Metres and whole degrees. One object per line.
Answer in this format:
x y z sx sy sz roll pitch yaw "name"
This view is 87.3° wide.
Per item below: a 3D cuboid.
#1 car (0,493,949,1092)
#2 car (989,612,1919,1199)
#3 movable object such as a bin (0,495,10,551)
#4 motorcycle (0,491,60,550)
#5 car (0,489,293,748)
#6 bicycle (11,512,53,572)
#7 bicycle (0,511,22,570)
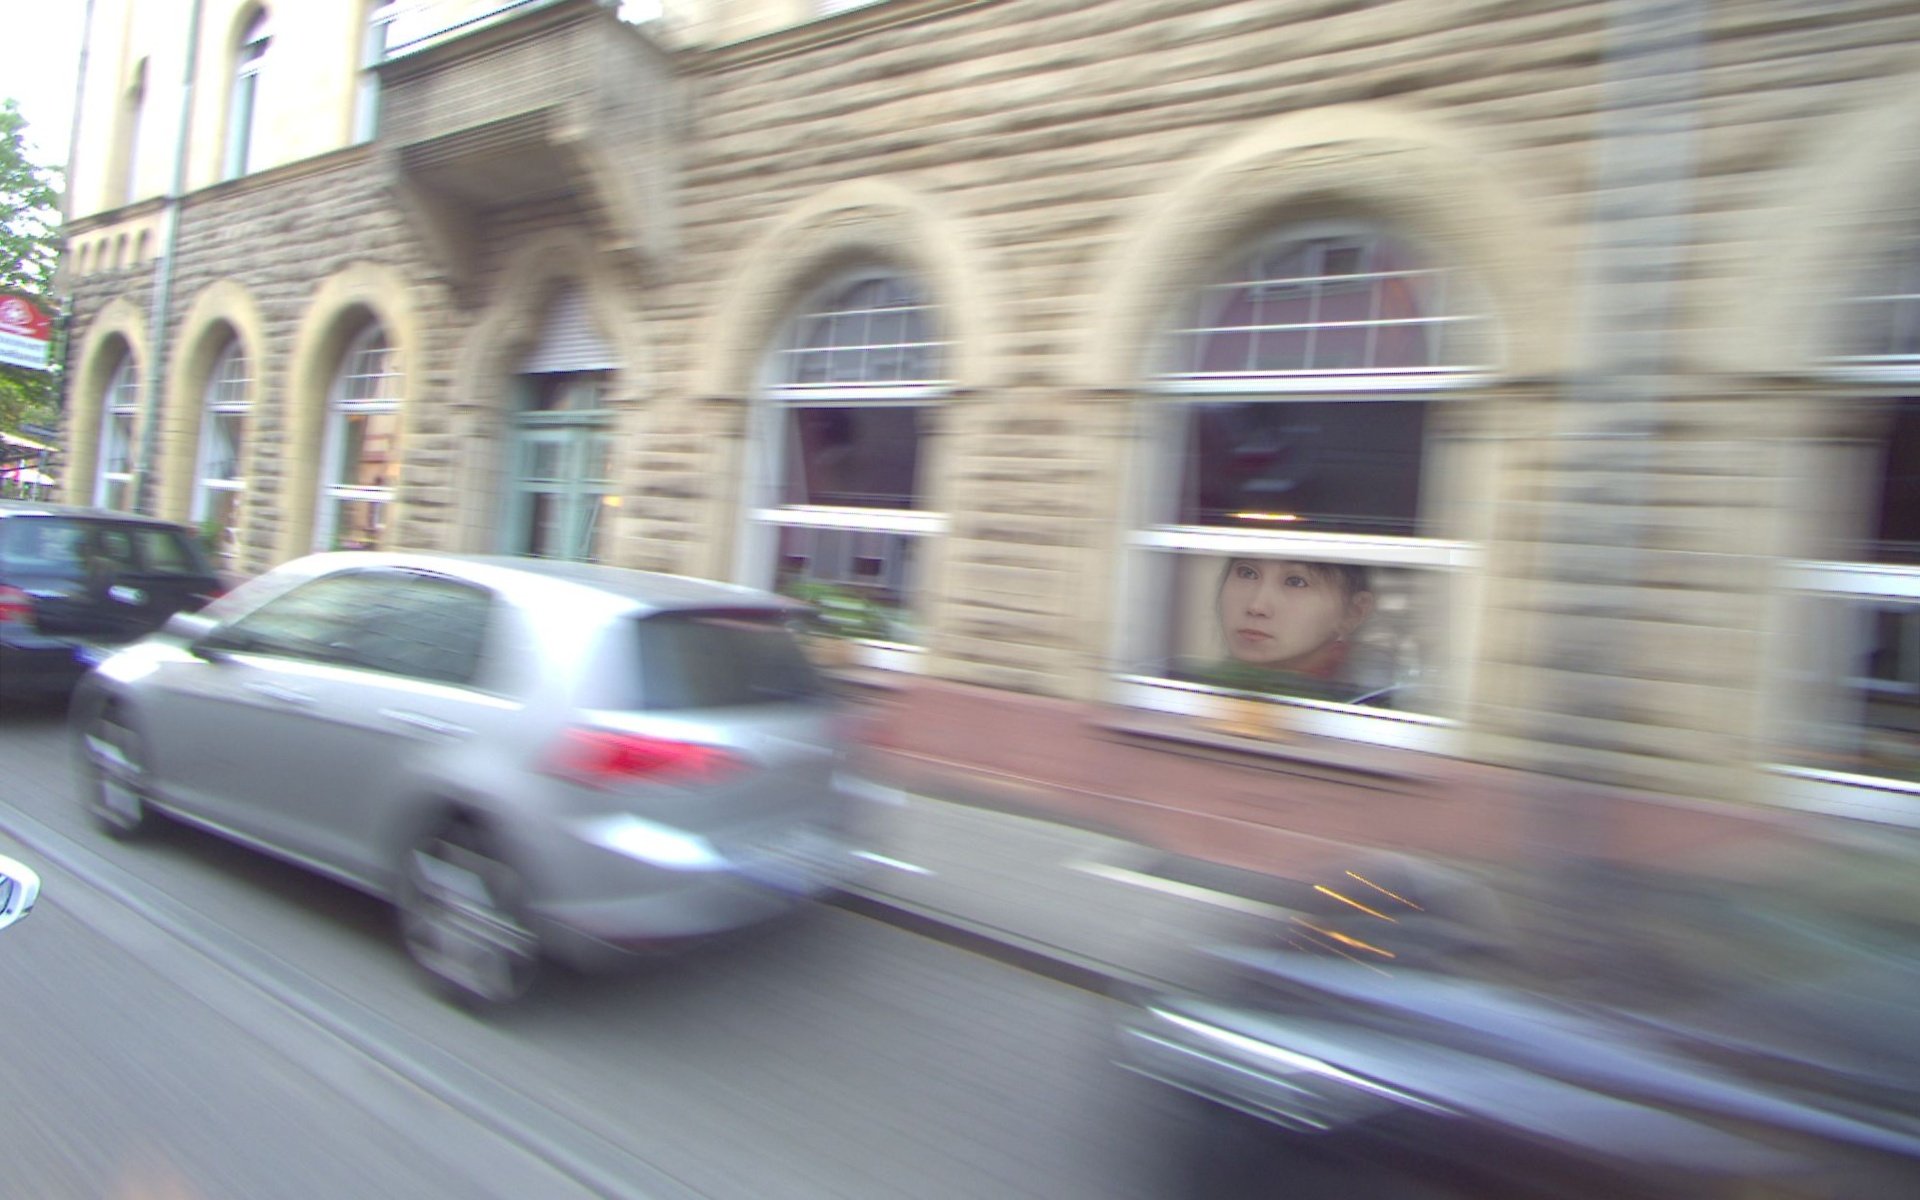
-2.473 0.460 4.711 4.480 1.504 1.765 6 1 30 "car"
2.456 1.025 1.694 4.481 1.504 1.764 6 1 32 "car"
-26.373 -2.184 26.816 0.808 1.491 1.282 7 -3 40 "movable object such as a bin"
-26.498 -2.267 28.539 1.851 1.471 0.868 7 1 32 "motorcycle"
-7.293 -0.071 7.634 4.478 1.504 1.765 6 3 28 "car"
-18.790 -1.190 20.357 1.811 1.083 0.473 6 0 44 "bicycle"
-18.902 -1.202 19.788 1.811 1.080 0.510 6 0 44 "bicycle"
